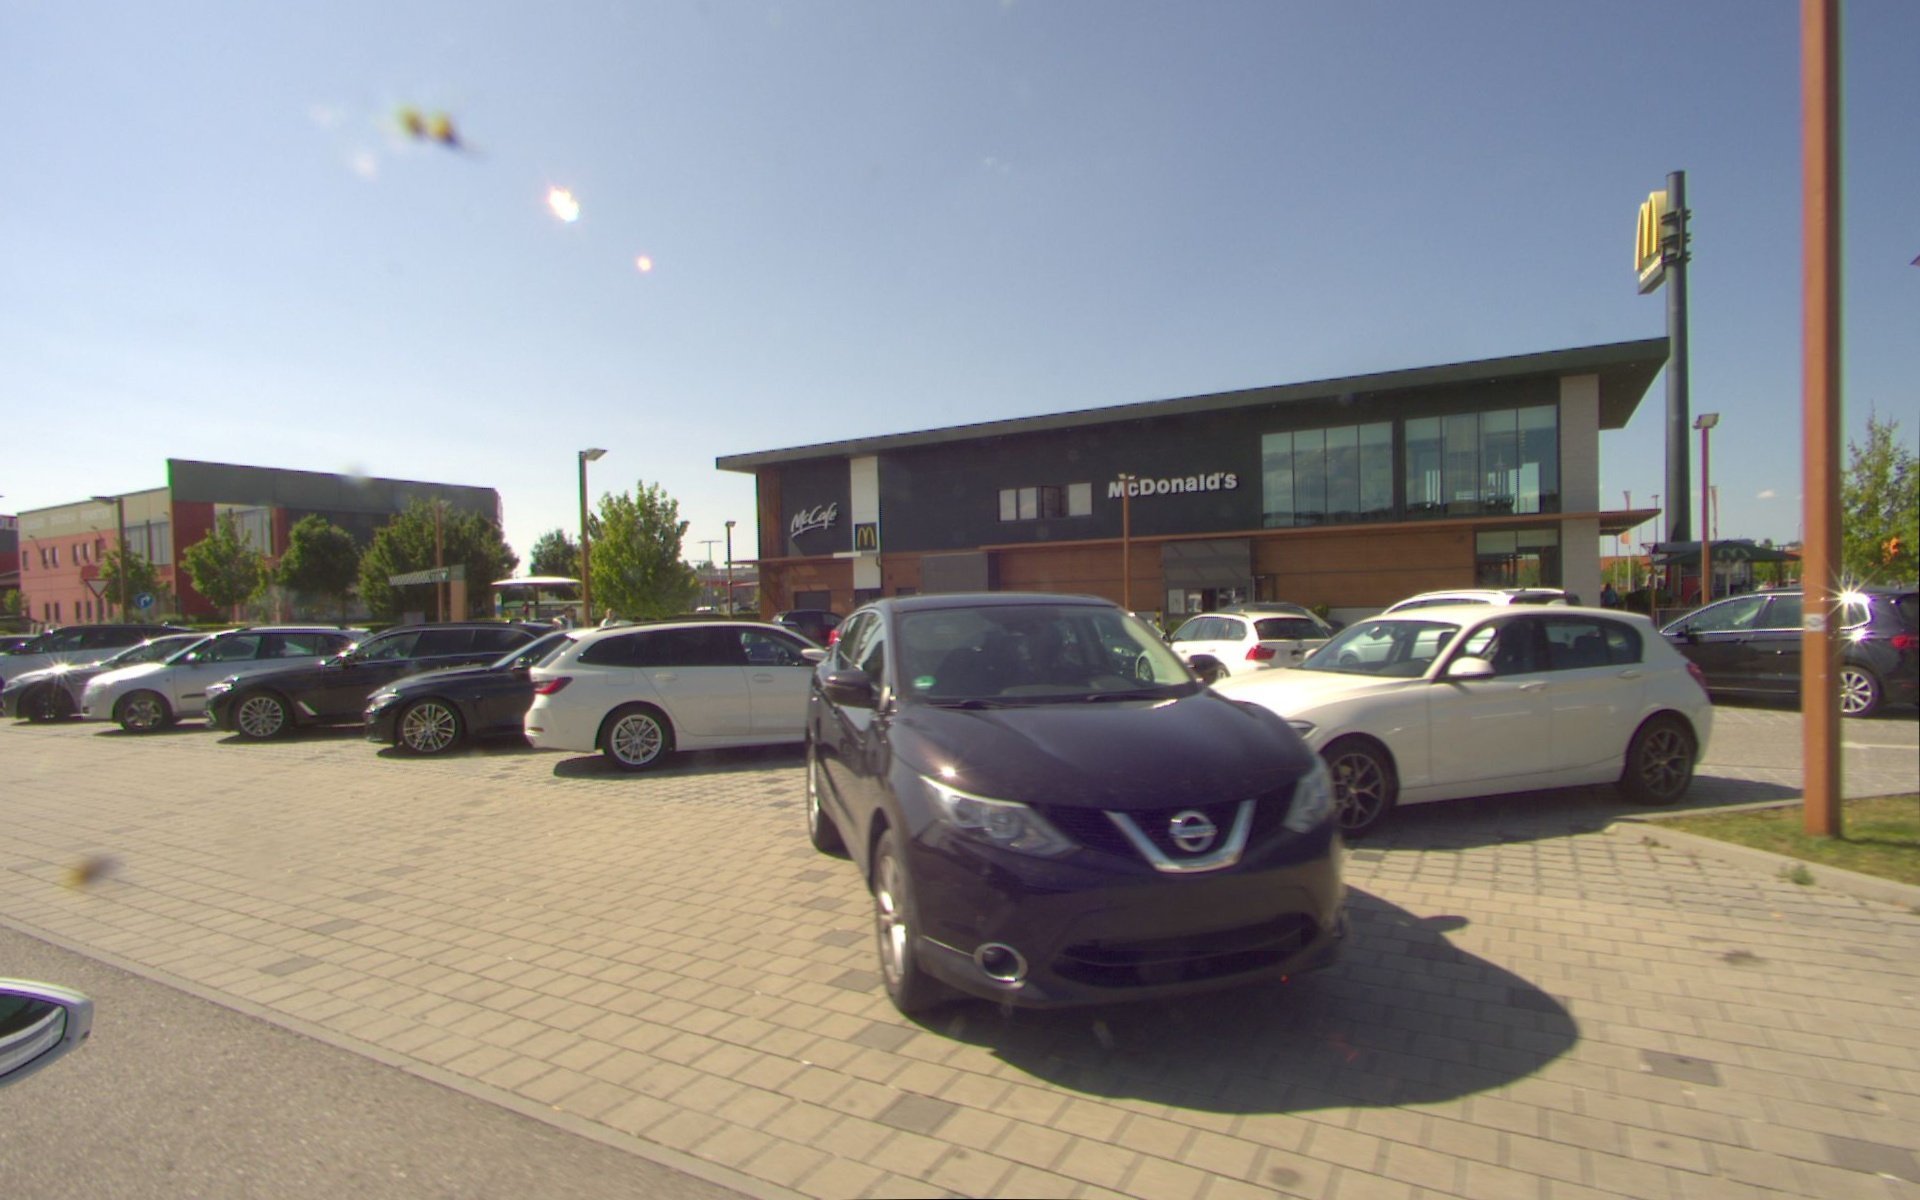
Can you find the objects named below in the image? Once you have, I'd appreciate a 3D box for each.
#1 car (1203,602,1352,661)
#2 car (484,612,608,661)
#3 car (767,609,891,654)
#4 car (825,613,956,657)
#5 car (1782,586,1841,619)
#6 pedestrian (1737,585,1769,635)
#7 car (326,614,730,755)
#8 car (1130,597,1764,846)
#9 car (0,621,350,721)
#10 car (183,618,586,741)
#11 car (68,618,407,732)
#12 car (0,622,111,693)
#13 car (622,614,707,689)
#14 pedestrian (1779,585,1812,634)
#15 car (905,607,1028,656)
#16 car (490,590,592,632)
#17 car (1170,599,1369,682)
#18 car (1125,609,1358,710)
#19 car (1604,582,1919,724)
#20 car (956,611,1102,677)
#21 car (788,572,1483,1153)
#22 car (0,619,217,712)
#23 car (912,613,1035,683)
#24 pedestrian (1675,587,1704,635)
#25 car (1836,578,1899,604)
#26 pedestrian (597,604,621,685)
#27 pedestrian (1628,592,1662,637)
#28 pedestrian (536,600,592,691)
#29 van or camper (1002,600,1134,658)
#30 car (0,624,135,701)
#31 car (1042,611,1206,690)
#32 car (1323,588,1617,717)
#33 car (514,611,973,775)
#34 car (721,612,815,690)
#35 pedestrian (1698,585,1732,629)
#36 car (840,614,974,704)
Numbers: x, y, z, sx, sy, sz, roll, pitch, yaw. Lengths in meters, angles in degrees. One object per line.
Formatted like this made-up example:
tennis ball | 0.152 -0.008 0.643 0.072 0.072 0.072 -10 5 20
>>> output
car | 9.443 0.910 29.846 3.964 1.634 1.714 -1 0 -17
car | -15.904 1.364 38.663 1.964 1.713 4.222 0 0 25
car | -5.031 1.175 38.430 4.392 1.623 1.957 0 0 -21
car | -2.529 1.251 36.455 4.395 1.484 1.956 0 -1 -24
car | 42.558 0.143 50.132 1.739 1.582 3.862 -1 -1 33
pedestrian | 25.779 0.326 32.562 0.691 1.580 0.719 -1 0 30
car | -5.167 0.948 12.478 4.296 1.479 1.832 0 0 -20
car | 3.617 0.754 7.635 4.133 1.479 1.972 -1 -1 -18
car | -13.961 1.197 18.055 4.766 1.546 1.969 0 -1 -23
car | -7.964 1.049 14.450 4.700 1.506 1.971 0 -1 -18
car | -11.202 1.086 15.948 4.147 1.546 1.965 0 -1 -31
car | -22.803 1.326 23.221 4.255 1.546 1.972 -1 0 -16
car | -6.714 1.115 23.036 1.680 1.512 4.110 -1 -1 -14
pedestrian | 26.935 0.308 32.296 0.691 1.580 0.719 -1 0 30
car | 0.222 1.067 34.773 3.884 1.534 1.710 -1 0 -21
car | -23.323 0.614 55.931 1.970 2.225 5.082 -1 -1 30
car | 6.362 0.796 21.212 1.861 1.506 4.639 -1 -1 -14
car | 4.558 0.913 16.895 1.781 1.432 4.107 -1 -1 -18
car | 10.927 0.616 13.139 1.724 1.572 3.993 -1 -1 -17
car | 1.985 1.240 28.907 3.894 1.798 1.648 -1 0 25
car | 0.263 0.731 5.090 1.824 1.612 4.296 -1 0 -15
car | -17.377 1.245 19.714 4.145 1.676 1.966 0 -1 -29
car | 0.205 1.106 24.611 1.861 1.506 4.639 -1 -1 -14
pedestrian | 24.504 0.358 33.632 0.691 1.580 0.719 -1 0 30
car | 84.675 -0.792 93.485 3.937 2.333 1.992 -1 0 27
pedestrian | -7.931 1.000 22.629 0.459 1.792 0.551 -1 0 -23
pedestrian | 24.069 0.509 35.192 0.708 1.580 0.702 -1 0 1
pedestrian | -8.359 0.942 21.144 0.823 1.874 0.766 -1 0 35
van or camper | 3.528 0.917 32.939 3.958 1.798 1.708 -1 0 -18
car | -20.449 1.310 21.235 4.139 1.546 1.969 0 -1 -24
car | 3.473 1.028 22.155 1.861 1.506 4.639 -1 -1 -14
car | 7.673 0.735 15.570 1.780 1.696 4.110 -1 -1 -14
car | -2.287 0.889 10.907 4.504 1.479 1.833 0 0 -18
car | -4.378 1.062 22.413 1.780 1.535 4.110 -1 -1 -14
pedestrian | 27.303 0.258 36.228 0.708 1.580 0.702 -1 0 1
car | -1.155 1.050 19.494 1.780 1.506 4.275 -1 -1 -14
